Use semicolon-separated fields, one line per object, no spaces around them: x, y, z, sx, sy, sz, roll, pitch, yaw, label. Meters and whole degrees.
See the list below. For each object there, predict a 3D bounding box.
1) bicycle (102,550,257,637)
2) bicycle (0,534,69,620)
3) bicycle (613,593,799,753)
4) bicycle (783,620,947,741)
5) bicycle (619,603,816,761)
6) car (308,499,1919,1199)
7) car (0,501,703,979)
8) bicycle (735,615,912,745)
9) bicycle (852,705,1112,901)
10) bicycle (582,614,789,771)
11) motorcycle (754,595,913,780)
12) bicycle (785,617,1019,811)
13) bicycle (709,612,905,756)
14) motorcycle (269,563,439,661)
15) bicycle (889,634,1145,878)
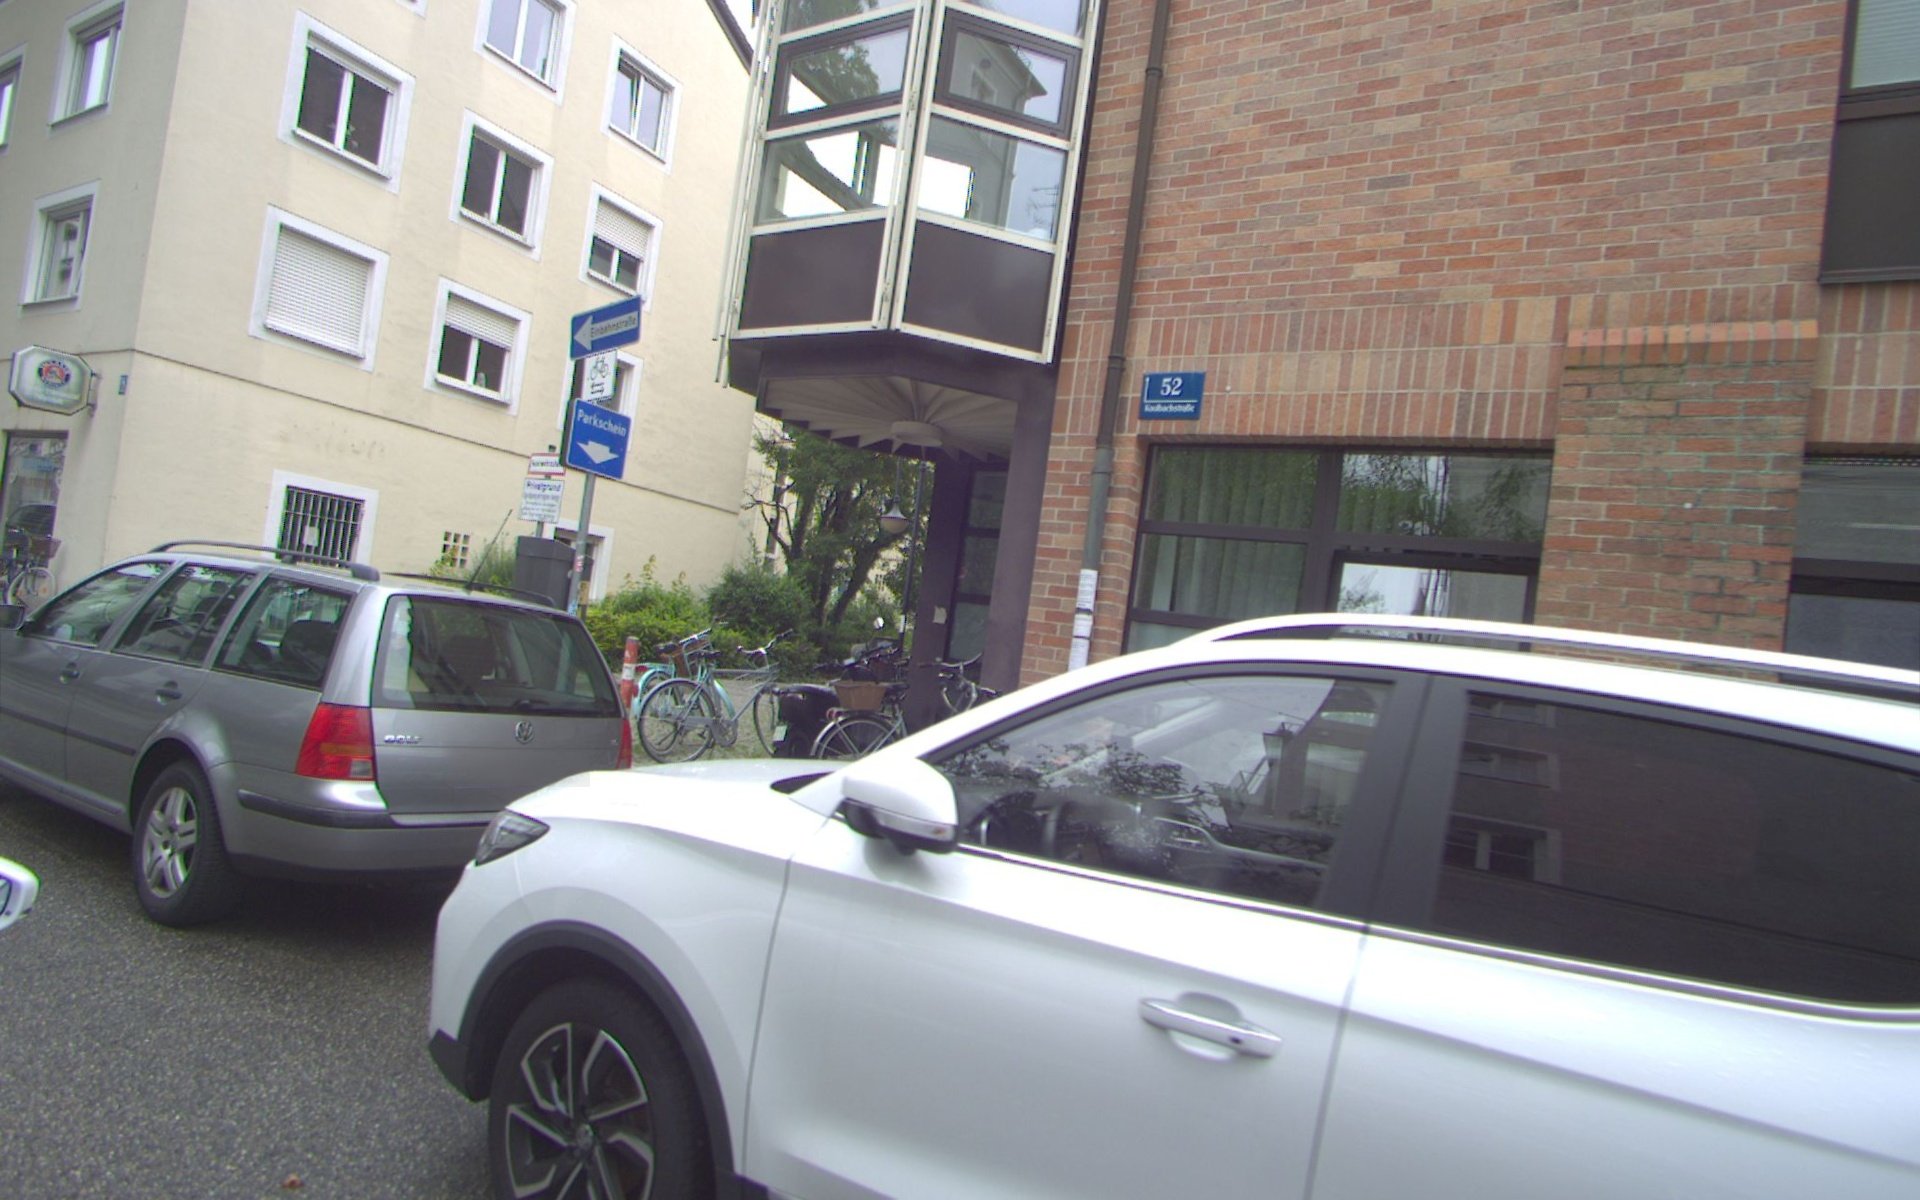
-10.555;-0.060;13.659;0.468;1.038;1.538;7;0;29;bicycle
-12.902;-0.337;13.807;1.677;1.038;0.475;6;0;32;bicycle
-2.410;0.693;9.613;1.523;1.291;0.380;8;-2;3;bicycle
-1.157;0.981;12.362;1.794;1.204;0.506;8;-2;10;bicycle
-2.155;0.723;8.993;1.523;1.172;0.380;8;-2;3;bicycle
0.659;0.851;2.307;4.125;1.649;1.753;7;-2;29;car
-3.455;0.445;5.114;3.932;1.461;1.749;6;-3;30;car
-1.554;0.900;11.522;1.794;1.204;0.506;8;-2;10;bicycle
0.106;1.187;6.152;1.517;0.884;0.385;6;-1;32;bicycle
-2.324;0.777;8.576;1.523;1.091;0.380;8;-2;3;bicycle
-1.060;0.750;8.753;0.465;1.437;1.474;7;-1;28;motorcycle
-0.397;0.872;7.459;1.628;1.291;0.376;8;-1;-32;bicycle
-1.574;0.856;10.402;1.794;1.204;0.506;8;-2;10;bicycle
-8.757;0.190;14.609;1.896;1.120;0.622;9;-2;-11;motorcycle
0.338;0.953;6.511;1.527;1.291;0.379;6;-1;32;bicycle
